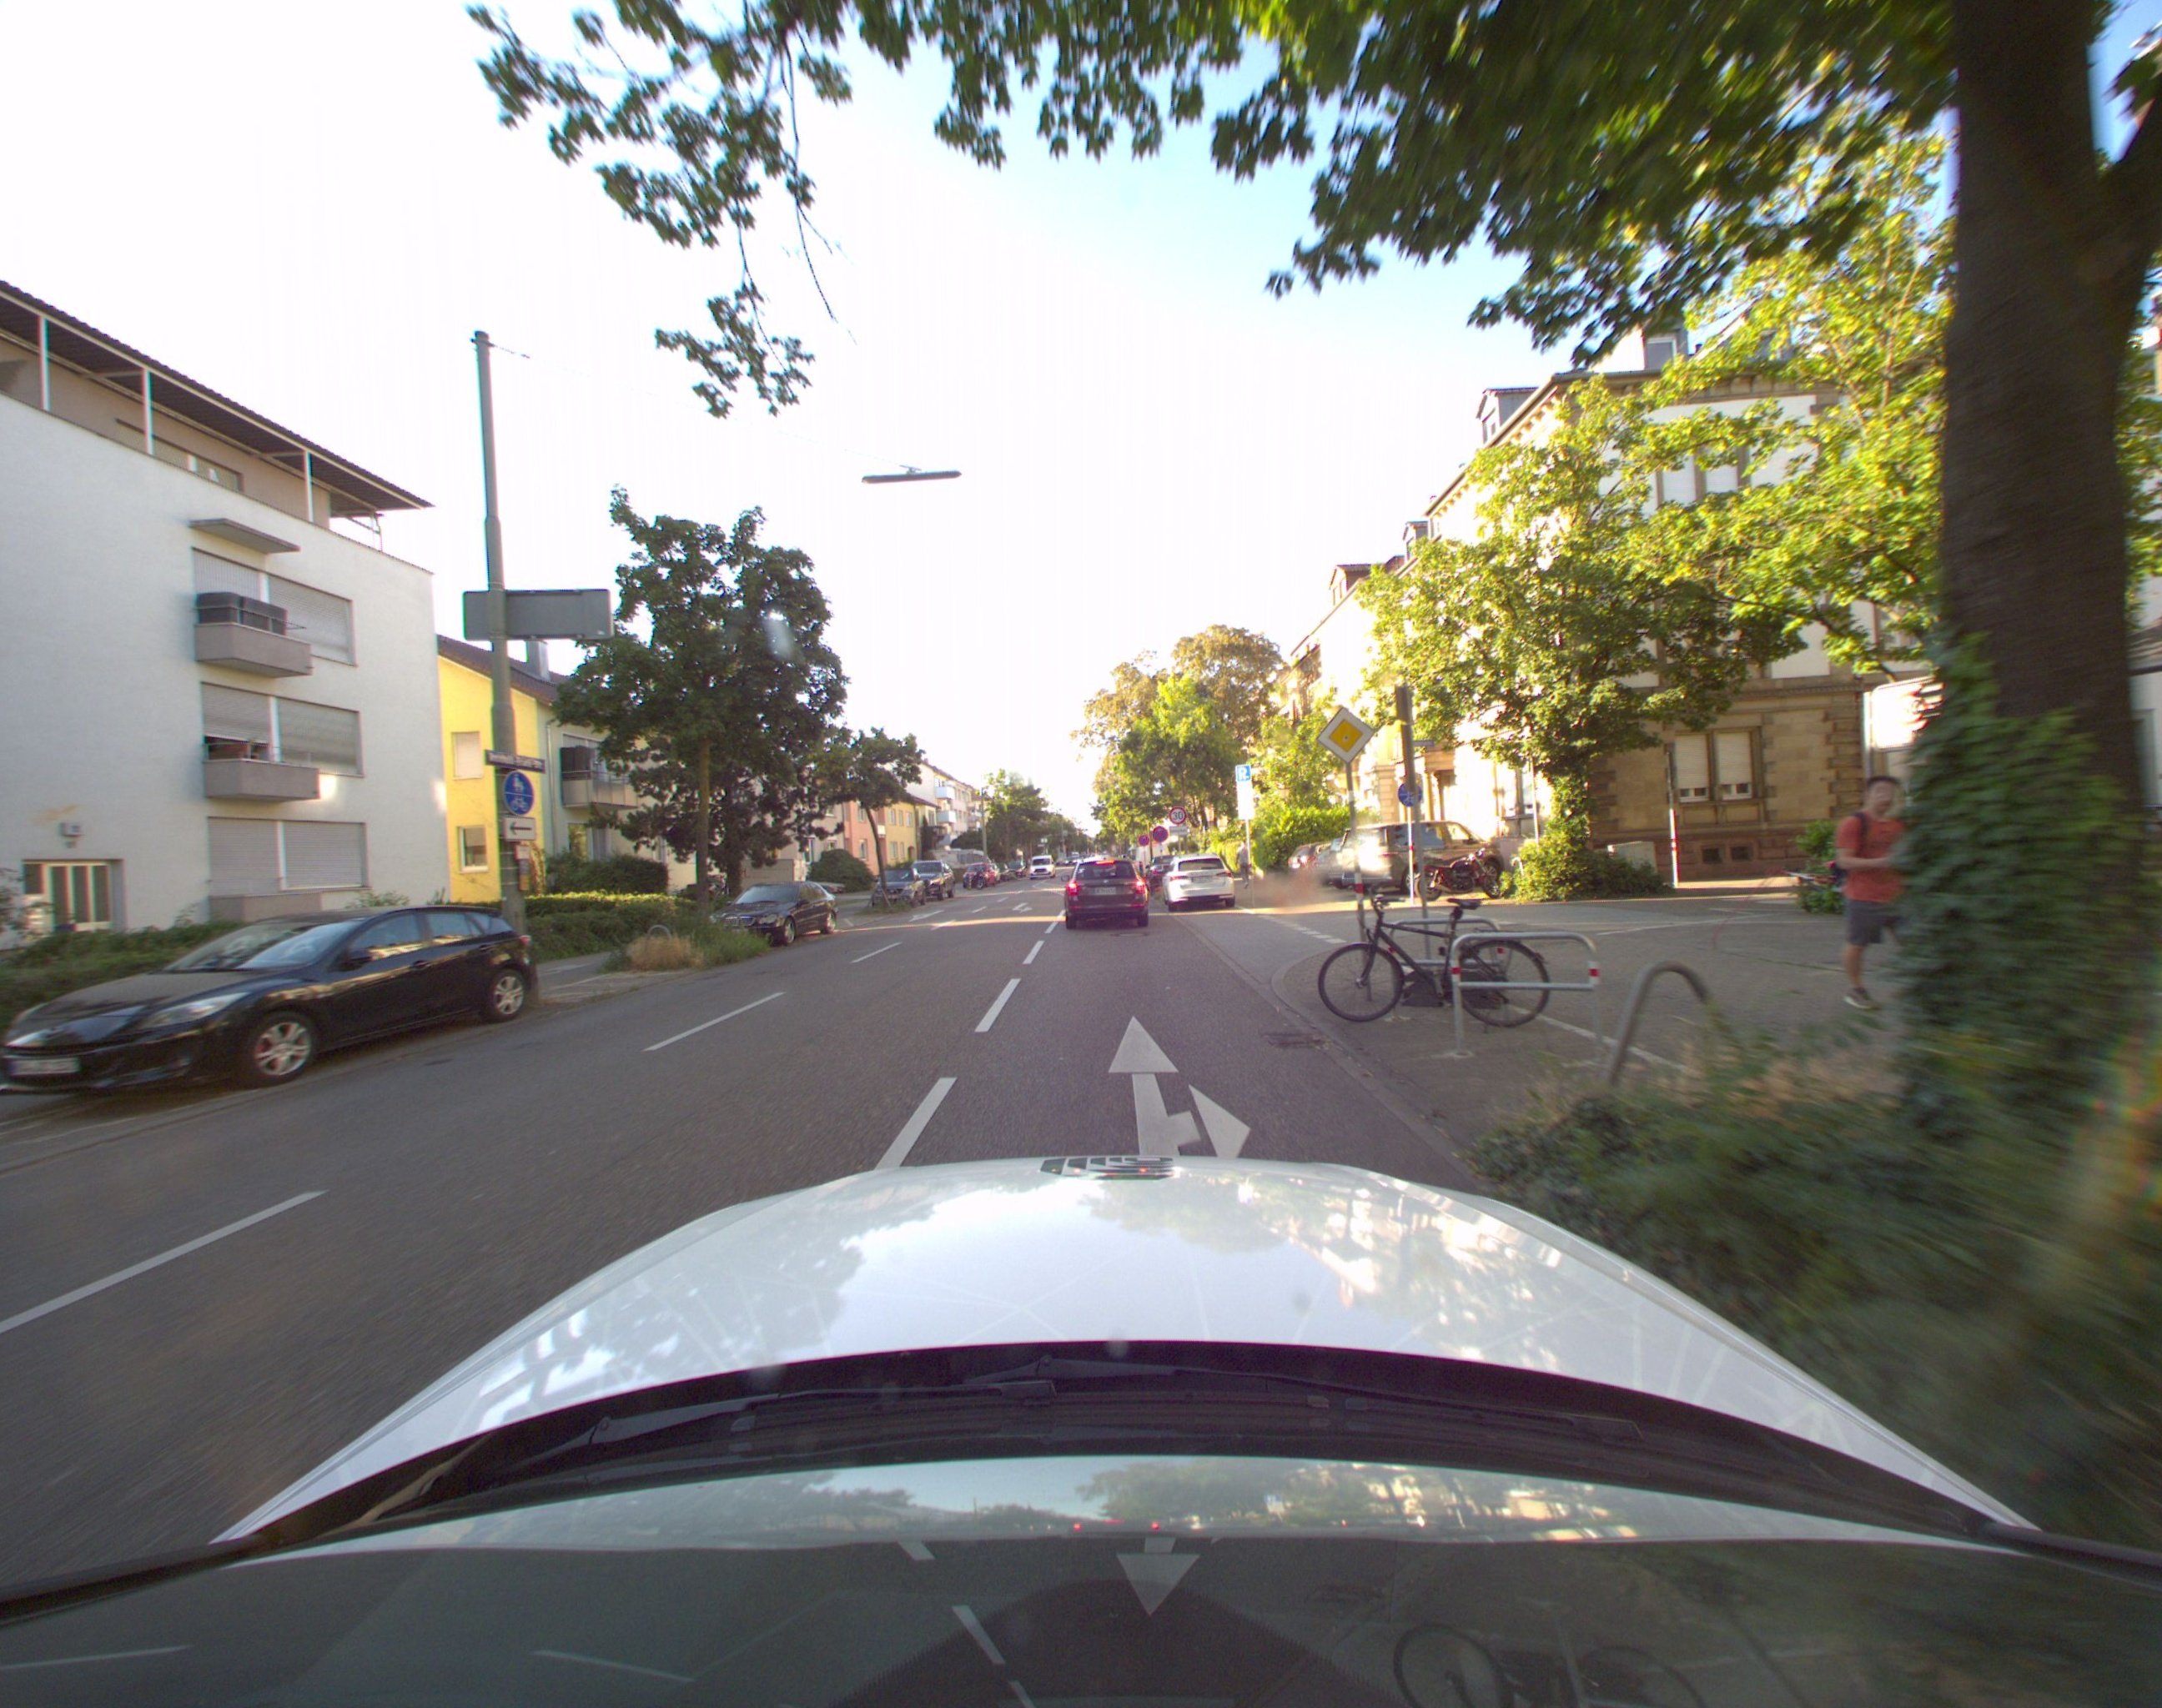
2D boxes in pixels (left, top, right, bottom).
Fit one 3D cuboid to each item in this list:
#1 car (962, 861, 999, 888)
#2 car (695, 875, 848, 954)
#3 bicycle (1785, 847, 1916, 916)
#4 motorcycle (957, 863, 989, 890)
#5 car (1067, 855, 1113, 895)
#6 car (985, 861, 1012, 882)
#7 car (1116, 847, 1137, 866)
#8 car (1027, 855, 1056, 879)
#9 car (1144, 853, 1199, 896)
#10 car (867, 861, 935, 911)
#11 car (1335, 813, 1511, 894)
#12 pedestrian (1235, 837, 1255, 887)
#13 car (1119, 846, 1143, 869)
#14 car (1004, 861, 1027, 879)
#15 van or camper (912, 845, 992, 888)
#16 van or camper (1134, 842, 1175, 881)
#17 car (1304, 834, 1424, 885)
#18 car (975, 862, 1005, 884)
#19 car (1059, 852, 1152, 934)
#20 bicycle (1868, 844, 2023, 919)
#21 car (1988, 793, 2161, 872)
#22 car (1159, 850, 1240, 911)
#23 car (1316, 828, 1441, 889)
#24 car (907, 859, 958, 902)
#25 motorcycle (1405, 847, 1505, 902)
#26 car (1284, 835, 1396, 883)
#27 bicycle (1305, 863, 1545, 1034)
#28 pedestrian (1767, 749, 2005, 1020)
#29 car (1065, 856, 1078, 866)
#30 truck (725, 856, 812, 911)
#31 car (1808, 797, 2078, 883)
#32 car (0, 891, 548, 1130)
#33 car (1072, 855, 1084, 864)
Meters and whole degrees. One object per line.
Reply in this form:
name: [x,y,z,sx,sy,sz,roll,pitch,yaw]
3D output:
car: [-6.429,1.293,52.566,1.658,1.511,4.179,-3,0,1]
car: [-7.172,1.344,19.418,1.747,1.420,4.428,-3,0,2]
bicycle: [11.337,0.384,12.064,0.341,0.950,1.579,-1,-1,-4]
motorcycle: [-6.318,1.315,47.586,0.771,1.511,2.006,-3,0,-41]
car: [0.333,0.860,34.757,1.725,1.493,3.947,-3,0,-2]
car: [-6.340,1.366,62.803,1.658,1.432,3.276,-3,0,1]
car: [4.565,0.223,82.231,1.724,1.815,3.950,-3,0,0]
car: [-3.092,0.991,63.975,1.870,1.757,4.179,-3,0,1]
car: [3.388,0.719,31.024,1.813,1.413,4.115,-3,0,3]
car: [-7.133,1.233,32.608,1.744,1.740,3.592,-3,0,1]
car: [9.425,-0.034,22.402,4.558,1.892,1.898,-3,0,-27]
pedestrian: [6.072,0.284,30.112,0.533,1.794,0.688,-3,0,3]
car: [4.287,0.308,69.738,1.724,1.815,3.950,-3,0,0]
car: [-5.927,1.452,73.968,1.658,1.432,3.276,-3,0,1]
van or camper: [-13.247,1.265,83.904,7.617,3.874,1.999,-3,0,-1]
van or camper: [4.134,0.394,46.434,1.986,2.013,4.001,-3,0,1]
car: [9.858,0.180,28.396,3.814,1.525,1.501,-3,0,-21]
car: [-6.486,1.345,58.259,1.658,1.432,3.276,-3,0,1]
car: [0.548,0.751,17.878,1.723,1.493,3.953,-3,0,2]
bicycle: [12.093,0.362,11.466,0.341,0.950,1.579,-5,0,-4]
car: [23.501,-0.528,18.336,3.902,1.585,1.930,-3,0,2]
car: [3.181,0.654,22.538,1.813,1.413,4.115,-3,0,3]
car: [9.435,0.117,25.786,3.823,1.678,1.498,-3,0,-29]
car: [-6.742,1.174,37.270,1.501,1.757,3.694,-3,0,1]
motorcycle: [8.637,0.458,18.829,2.047,1.125,0.525,-3,0,-4]
car: [9.708,0.177,30.521,3.814,1.525,1.501,-3,0,-21]
bicycle: [2.789,0.774,6.778,1.659,1.226,0.638,-6,0,14]
pedestrian: [5.832,0.202,5.964,0.754,1.796,0.905,-3,0,-4]
car: [-1.642,1.201,141.175,1.986,1.508,4.001,-3,0,1]
truck: [-13.061,1.220,34.138,2.903,2.093,1.546,-3,0,0]
car: [19.109,-0.299,18.210,3.902,1.585,1.930,-3,0,2]
car: [-7.710,1.276,8.201,1.710,1.497,4.249,-3,0,1]
car: [-0.537,1.044,155.137,1.986,1.508,4.001,-3,0,1]
